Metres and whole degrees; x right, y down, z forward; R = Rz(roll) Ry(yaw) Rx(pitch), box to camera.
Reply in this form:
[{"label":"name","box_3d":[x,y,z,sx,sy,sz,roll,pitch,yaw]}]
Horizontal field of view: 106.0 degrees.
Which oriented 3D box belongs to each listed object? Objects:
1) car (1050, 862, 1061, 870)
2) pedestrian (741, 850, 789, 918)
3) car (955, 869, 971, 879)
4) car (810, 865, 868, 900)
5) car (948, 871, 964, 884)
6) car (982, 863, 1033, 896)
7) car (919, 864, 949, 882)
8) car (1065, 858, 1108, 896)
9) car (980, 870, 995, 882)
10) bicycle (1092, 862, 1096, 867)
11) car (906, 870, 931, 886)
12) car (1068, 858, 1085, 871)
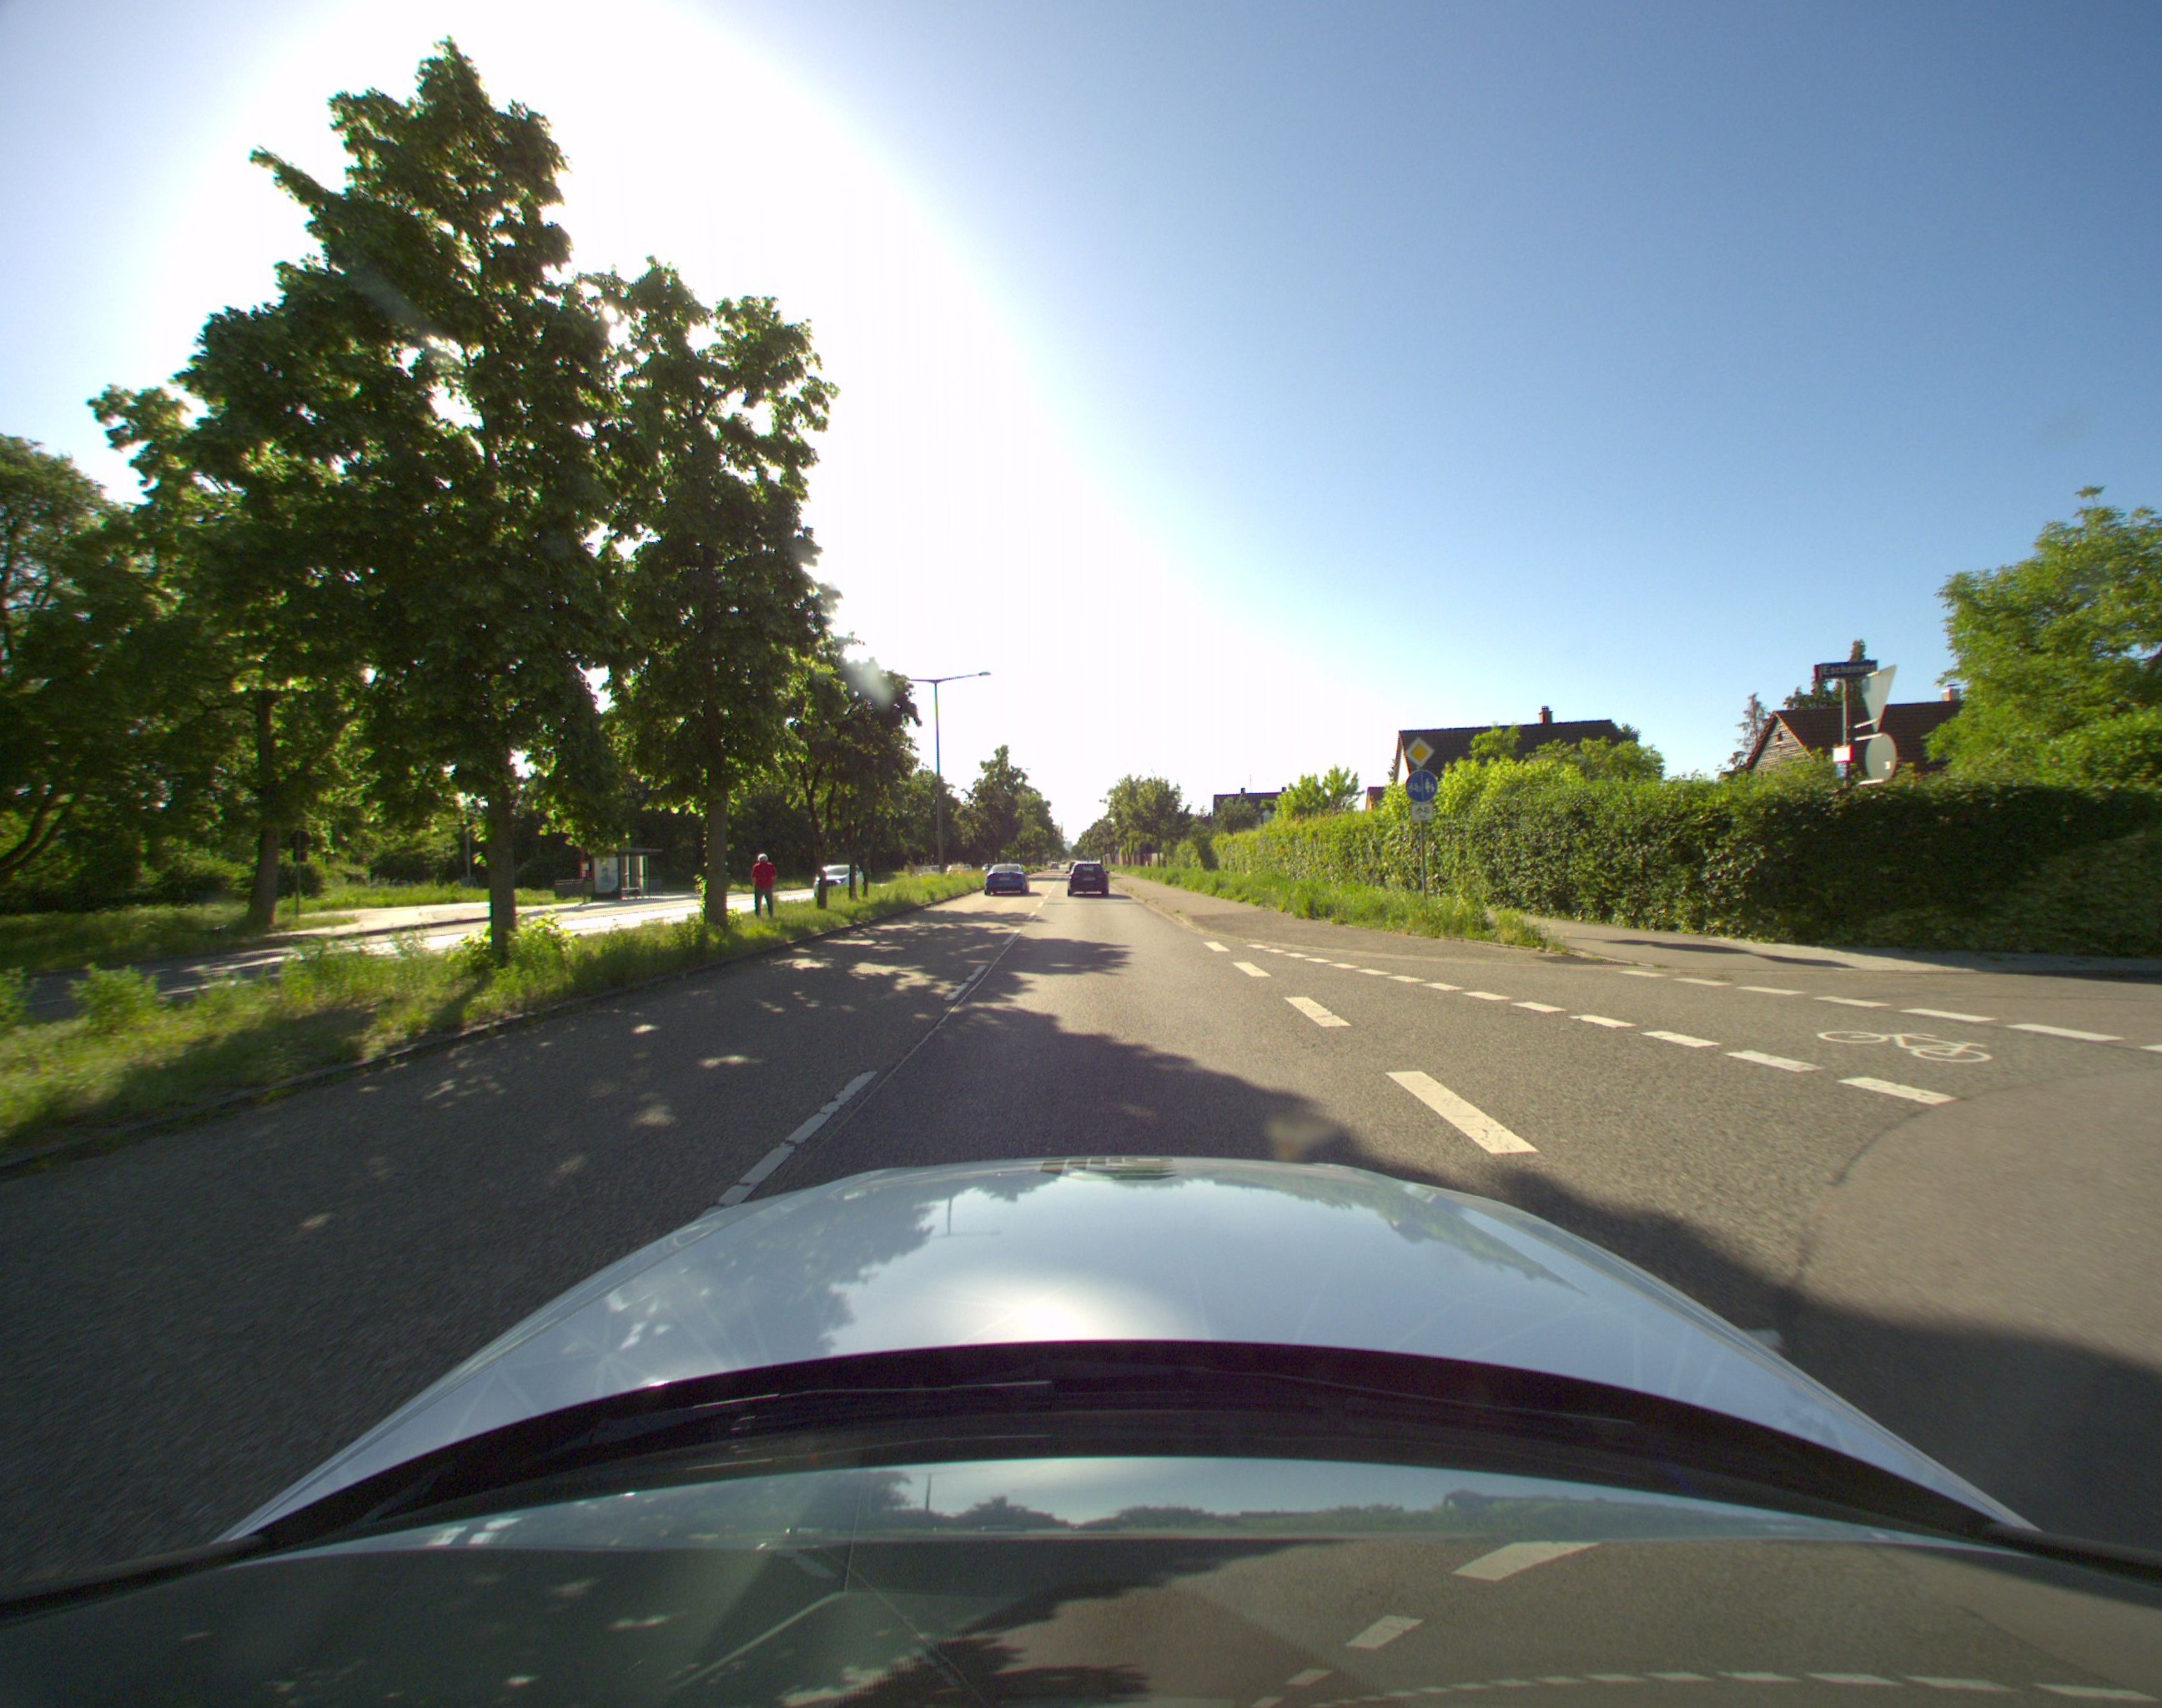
[{"label":"car","box_3d":[-5.107,2.377,160.613,1.975,1.440,3.993,-1,0,-5]},{"label":"pedestrian","box_3d":[-8.135,0.748,20.962,0.624,1.696,0.949,-1,-1,29]},{"label":"car","box_3d":[-17.888,3.018,123.590,1.833,1.413,3.996,-1,-1,-2]},{"label":"car","box_3d":[-12.239,1.401,41.463,1.725,1.632,4.196,-2,-1,-1]},{"label":"car","box_3d":[-16.662,3.156,108.787,1.600,1.563,3.996,-4,0,-2]},{"label":"car","box_3d":[-3.370,1.130,37.830,1.988,1.405,3.999,-1,0,0]},{"label":"car","box_3d":[-12.592,1.618,70.250,1.777,1.361,4.976,-1,0,-2]},{"label":"car","box_3d":[0.252,0.996,35.538,1.755,1.559,3.999,0,-1,0]},{"label":"car","box_3d":[-13.525,3.180,118.300,1.708,1.602,4.356,-1,-1,-1]},{"label":"bicycle","box_3d":[2.376,1.865,151.092,0.653,0.892,1.874,-1,0,-1]},{"label":"car","box_3d":[-16.826,2.470,84.508,1.801,1.500,4.591,-1,0,-2]},{"label":"car","box_3d":[-0.576,1.349,104.302,1.741,1.597,4.167,-1,0,-5]}]
